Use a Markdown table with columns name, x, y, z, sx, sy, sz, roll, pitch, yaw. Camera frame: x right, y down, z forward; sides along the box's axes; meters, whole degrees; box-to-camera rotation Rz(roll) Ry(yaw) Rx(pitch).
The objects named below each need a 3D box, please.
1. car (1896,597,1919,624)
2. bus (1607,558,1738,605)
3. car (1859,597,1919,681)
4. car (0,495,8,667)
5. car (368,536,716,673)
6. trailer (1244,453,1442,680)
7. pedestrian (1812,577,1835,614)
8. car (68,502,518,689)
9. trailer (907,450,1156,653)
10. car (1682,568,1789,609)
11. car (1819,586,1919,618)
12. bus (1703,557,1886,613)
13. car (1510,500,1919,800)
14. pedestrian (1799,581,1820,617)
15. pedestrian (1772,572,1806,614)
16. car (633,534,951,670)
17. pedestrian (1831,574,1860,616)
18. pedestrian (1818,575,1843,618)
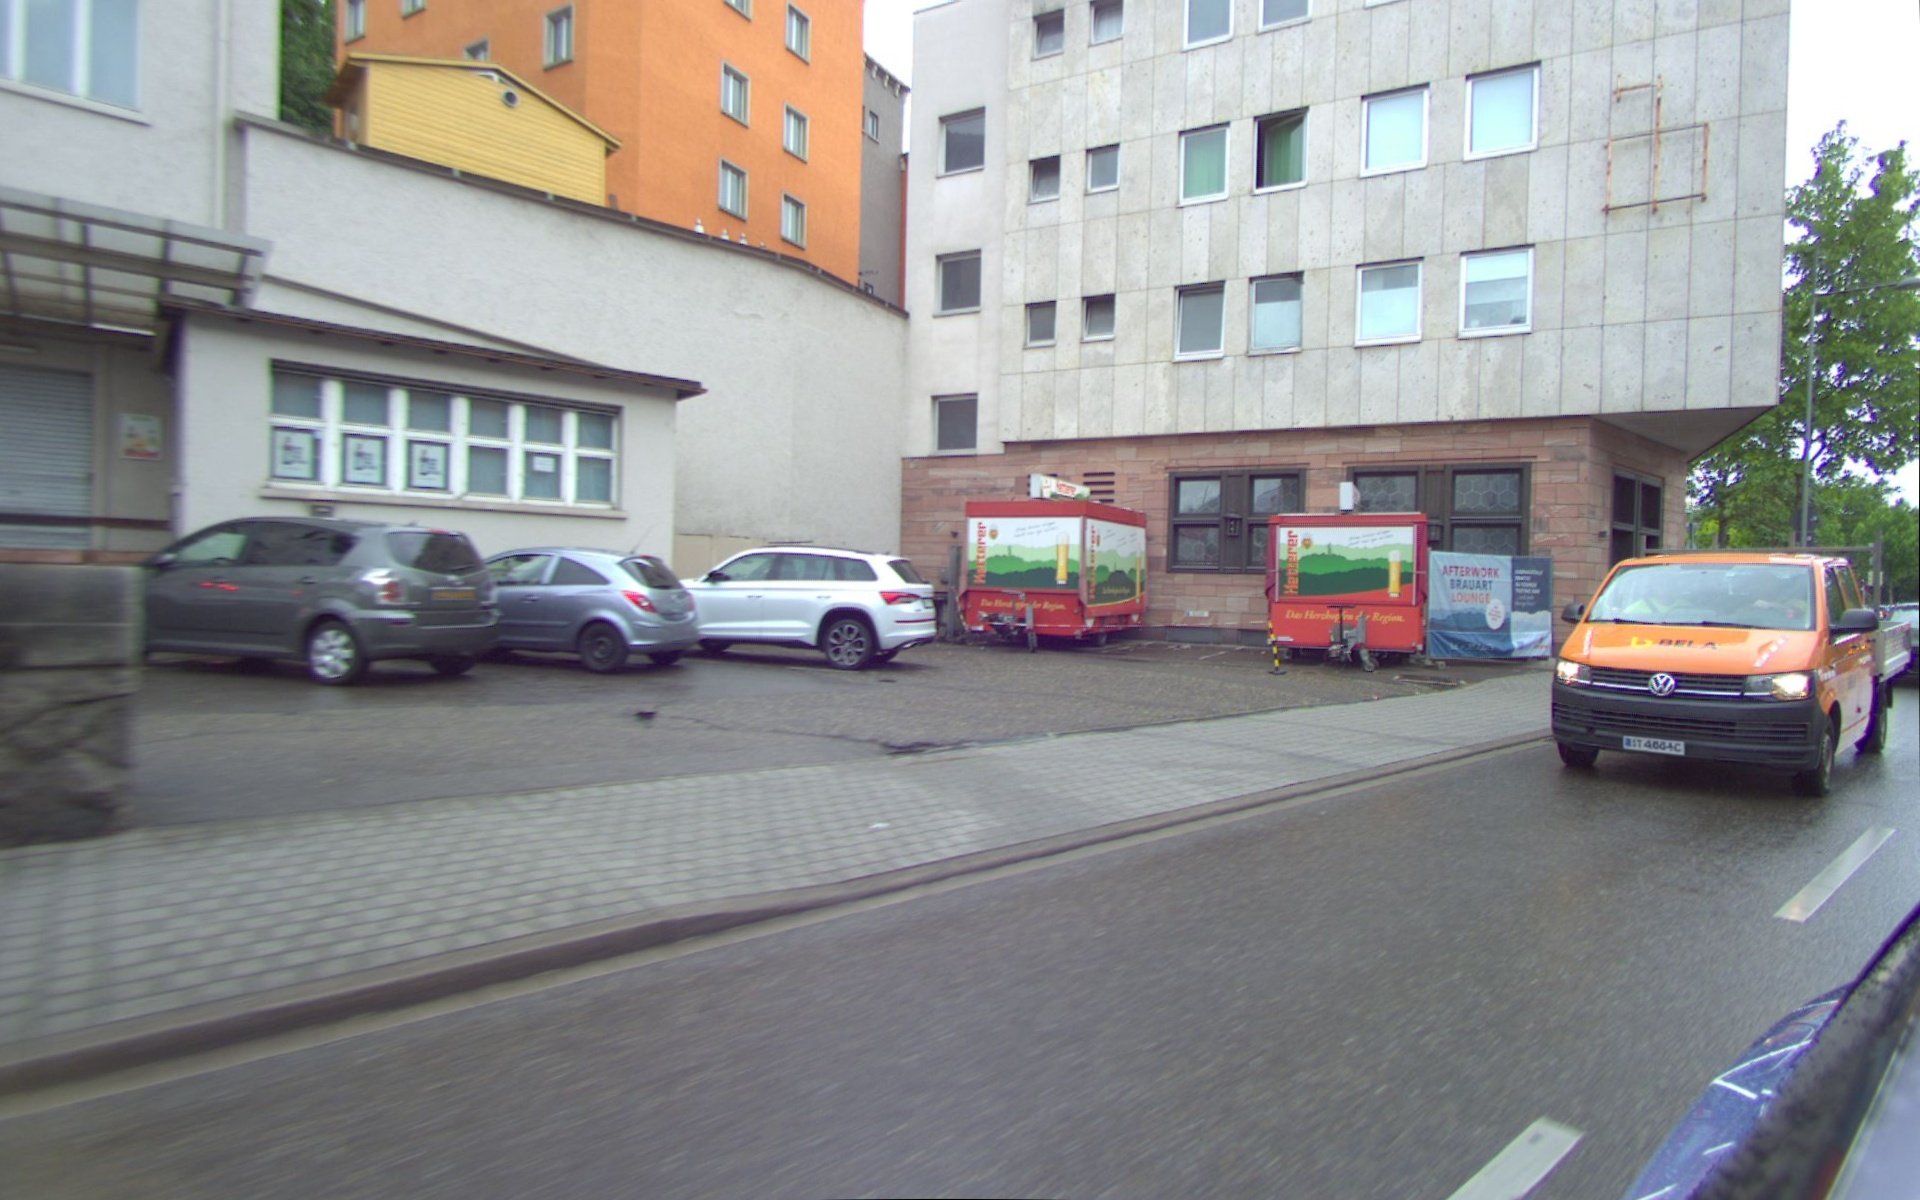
| name | x | y | z | sx | sy | sz | roll | pitch | yaw |
| --- | --- | --- | --- | --- | --- | --- | --- | --- | --- |
| car | 88.492 | 1.042 | 92.529 | 4.907 | 2.348 | 1.978 | 3 | 2 | -17 |
| bus | 53.316 | -1.489 | 76.108 | 2.632 | 3.219 | 8.579 | 1 | 2 | -10 |
| car | 17.903 | 0.659 | 18.382 | 1.886 | 1.422 | 4.305 | 0 | 0 | 35 |
| car | -10.919 | -0.184 | 8.757 | 3.915 | 1.587 | 1.922 | 1 | 0 | 9 |
| car | -5.222 | 0.015 | 12.801 | 3.781 | 1.418 | 1.639 | 3 | 1 | 12 |
| trailer | 6.678 | -0.615 | 17.452 | 2.608 | 3.215 | 5.672 | 2 | 3 | 23 |
| pedestrian | 39.546 | -0.225 | 46.339 | 0.599 | 1.618 | 0.697 | 6 | 4 | 36 |
| car | -6.938 | -0.102 | 10.641 | 3.943 | 1.602 | 1.764 | 3 | 1 | 15 |
| trailer | 1.661 | -0.886 | 20.046 | 2.724 | 3.348 | 6.014 | 2 | 2 | 28 |
| car | 48.497 | -0.785 | 63.537 | 2.216 | 2.261 | 6.334 | 2 | 3 | 6 |
| car | 47.313 | 0.075 | 52.803 | 1.765 | 1.390 | 4.091 | 2 | 3 | 6 |
| bus | 55.056 | -1.132 | 67.252 | 2.648 | 3.255 | 9.682 | 3 | 2 | -12 |
| car | 7.478 | 0.328 | 9.724 | 5.445 | 2.115 | 2.105 | 0 | 1 | -41 |
| pedestrian | 41.671 | -0.061 | 49.634 | 0.552 | 1.726 | 0.524 | 4 | 2 | 26 |
| pedestrian | 35.426 | -0.308 | 43.241 | 0.562 | 1.707 | 0.963 | 3 | 2 | 4 |
| car | -2.390 | -0.015 | 14.919 | 4.208 | 1.669 | 1.862 | 3 | 1 | 11 |
| pedestrian | 39.930 | -0.235 | 45.628 | 0.738 | 1.852 | 0.686 | 6 | 4 | 33 |
| pedestrian | 42.164 | -0.180 | 49.000 | 0.583 | 2.038 | 0.781 | 4 | 2 | 25 |
